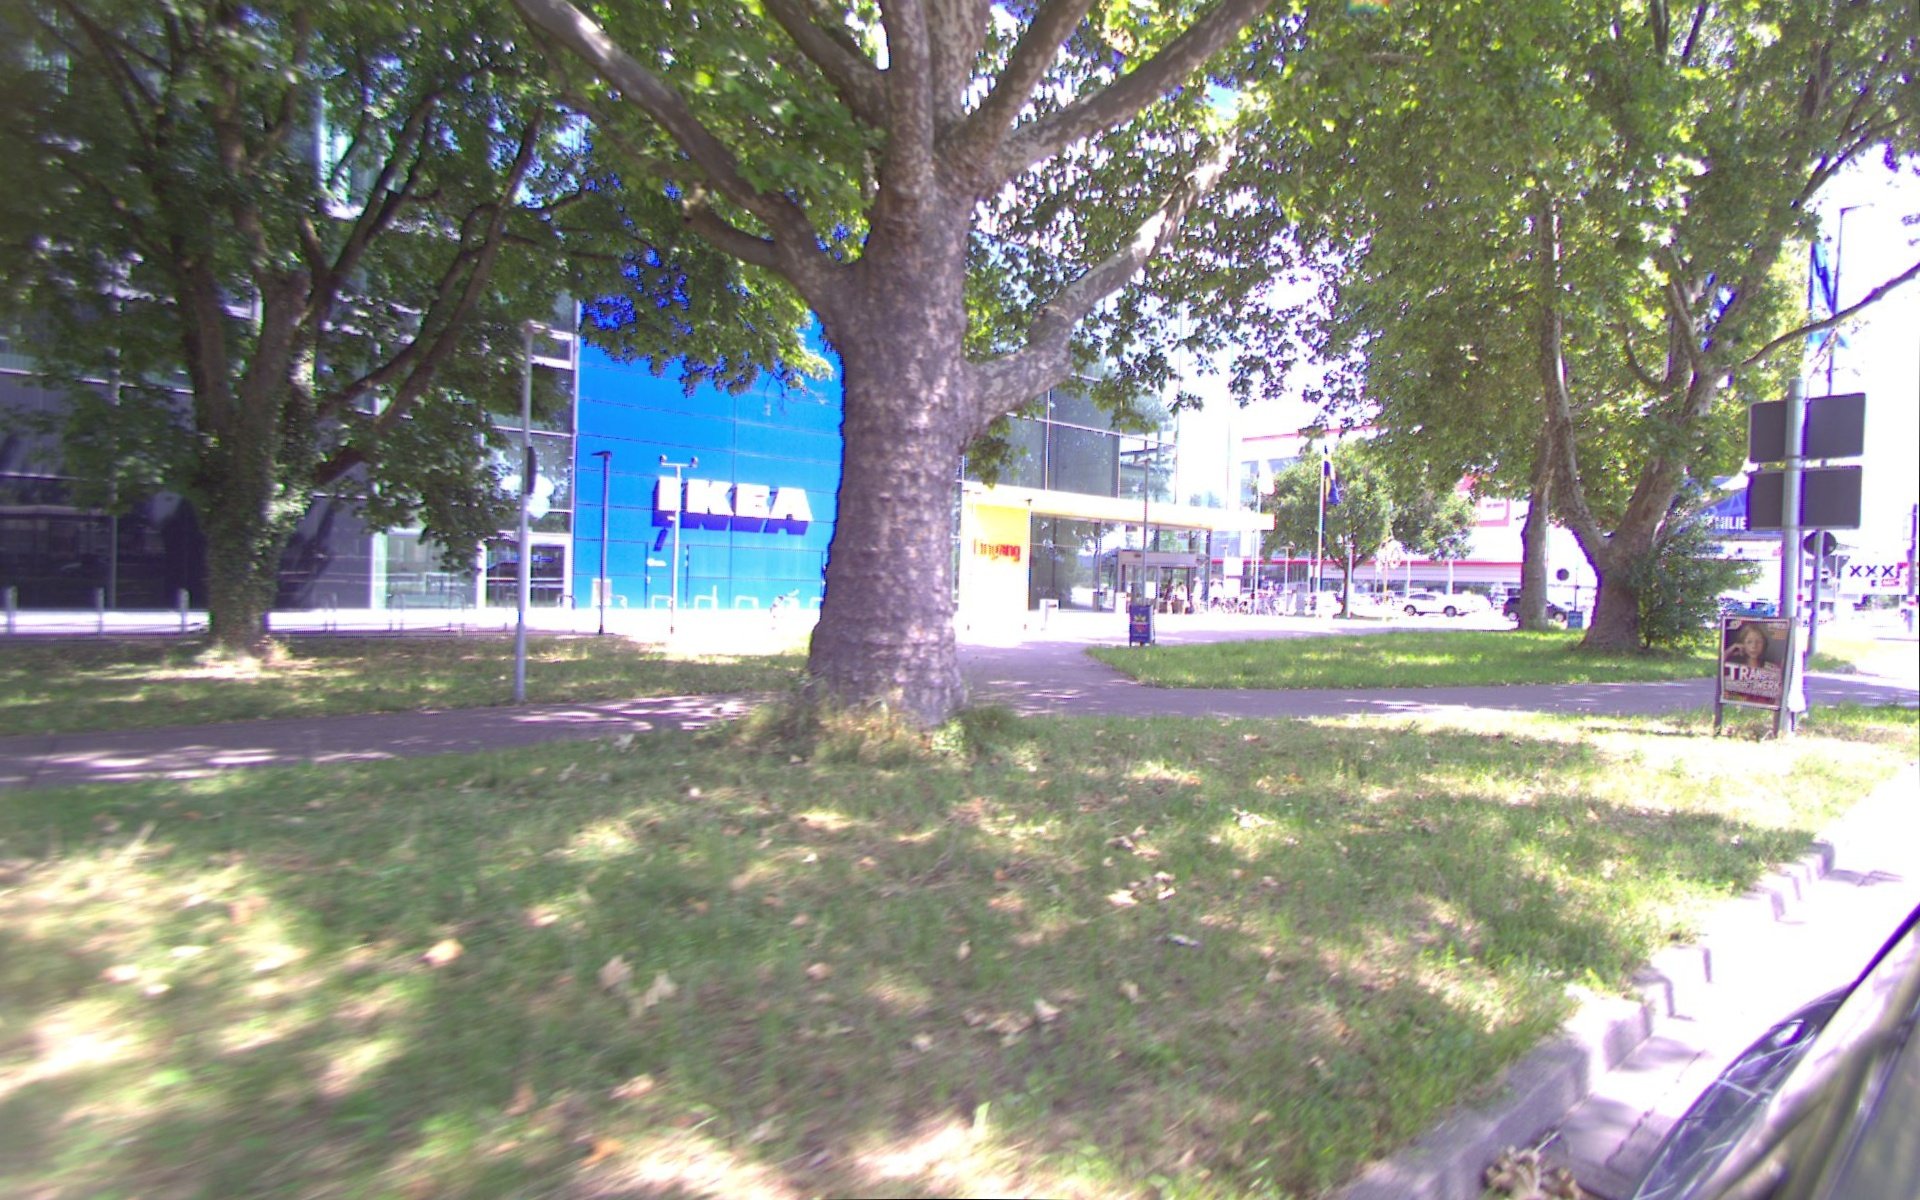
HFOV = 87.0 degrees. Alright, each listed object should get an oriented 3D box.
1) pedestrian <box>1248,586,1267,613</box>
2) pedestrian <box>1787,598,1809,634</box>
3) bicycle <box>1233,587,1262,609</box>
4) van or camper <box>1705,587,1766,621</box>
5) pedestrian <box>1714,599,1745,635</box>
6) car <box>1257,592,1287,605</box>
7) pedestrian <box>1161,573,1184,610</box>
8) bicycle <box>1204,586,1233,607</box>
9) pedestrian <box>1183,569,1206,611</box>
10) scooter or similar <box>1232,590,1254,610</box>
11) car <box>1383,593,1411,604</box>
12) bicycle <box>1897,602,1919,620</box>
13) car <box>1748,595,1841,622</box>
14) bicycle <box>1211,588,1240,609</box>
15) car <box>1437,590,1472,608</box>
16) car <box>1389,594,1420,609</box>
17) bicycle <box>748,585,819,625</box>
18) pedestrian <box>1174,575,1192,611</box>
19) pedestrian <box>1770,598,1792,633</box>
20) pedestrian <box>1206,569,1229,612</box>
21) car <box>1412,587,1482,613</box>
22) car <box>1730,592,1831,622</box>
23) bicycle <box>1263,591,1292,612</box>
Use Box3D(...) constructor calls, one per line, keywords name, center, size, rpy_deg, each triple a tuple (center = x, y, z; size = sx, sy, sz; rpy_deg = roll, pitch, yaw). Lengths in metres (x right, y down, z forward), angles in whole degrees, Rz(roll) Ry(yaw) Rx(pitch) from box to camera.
Box3D(name="pedestrian", center=(18.337, -0.045, 62.339), size=(0.623, 1.606, 0.918), rpy_deg=(1, 1, -45))
Box3D(name="pedestrian", center=(40.164, 0.760, 48.529), size=(0.847, 1.658, 0.608), rpy_deg=(-1, 1, -35))
Box3D(name="bicycle", center=(16.907, -0.131, 59.523), size=(0.798, 1.213, 2.401), rpy_deg=(2, 2, 36))
Box3D(name="van or camper", center=(71.915, 0.311, 93.820), size=(7.475, 2.983, 2.715), rpy_deg=(-1, 0, -38))
Box3D(name="pedestrian", center=(36.215, 0.782, 47.632), size=(0.834, 1.680, 0.799), rpy_deg=(0, 0, -20))
Box3D(name="car", center=(41.829, -0.185, 135.698), size=(4.092, 1.723, 1.854), rpy_deg=(0, 1, -36))
Box3D(name="pedestrian", center=(10.153, -0.410, 48.457), size=(0.726, 1.757, 0.784), rpy_deg=(1, 0, -28))
Box3D(name="bicycle", center=(15.616, -0.194, 61.107), size=(0.798, 1.214, 2.401), rpy_deg=(1, 1, 36))
Box3D(name="pedestrian", center=(11.417, -0.482, 49.267), size=(0.718, 2.039, 0.801), rpy_deg=(1, 0, -28))
Box3D(name="scooter or similar", center=(17.659, -0.005, 63.132), size=(0.716, 1.213, 1.075), rpy_deg=(0, 0, -41))
Box3D(name="car", center=(56.857, -0.185, 131.711), size=(3.928, 1.326, 1.693), rpy_deg=(0, 0, -39))
Box3D(name="bicycle", center=(65.802, 0.737, 69.682), size=(0.817, 1.176, 1.877), rpy_deg=(1, 2, 4))
Box3D(name="car", center=(47.145, 0.434, 57.220), size=(1.772, 1.414, 3.829), rpy_deg=(0, 1, -42))
Box3D(name="bicycle", center=(15.716, -0.090, 59.794), size=(0.798, 1.214, 2.401), rpy_deg=(1, 1, 36))
Box3D(name="car", center=(56.041, -0.142, 114.610), size=(3.926, 2.039, 1.999), rpy_deg=(-1, 0, -38))
Box3D(name="car", center=(50.626, 0.164, 115.154), size=(3.933, 1.565, 1.850), rpy_deg=(0, 0, -43))
Box3D(name="bicycle", center=(-4.706, 0.114, 26.907), size=(0.854, 0.981, 2.062), rpy_deg=(0, 1, -43))
Box3D(name="pedestrian", center=(10.740, -0.336, 48.824), size=(0.574, 1.693, 0.608), rpy_deg=(0, 0, -27))
Box3D(name="pedestrian", center=(39.778, 0.758, 49.034), size=(0.848, 1.658, 0.604), rpy_deg=(-1, 1, -35))
Box3D(name="pedestrian", center=(12.515, -0.470, 49.138), size=(0.718, 2.039, 0.800), rpy_deg=(1, 0, -32))
Box3D(name="car", center=(34.605, -0.021, 71.929), size=(1.967, 1.660, 4.073), rpy_deg=(0, 2, -44))
Box3D(name="car", center=(44.782, 0.367, 55.292), size=(1.965, 1.575, 3.994), rpy_deg=(2, -1, -40))
Box3D(name="bicycle", center=(17.843, 0.086, 56.821), size=(0.798, 1.159, 2.401), rpy_deg=(1, 1, 36))
